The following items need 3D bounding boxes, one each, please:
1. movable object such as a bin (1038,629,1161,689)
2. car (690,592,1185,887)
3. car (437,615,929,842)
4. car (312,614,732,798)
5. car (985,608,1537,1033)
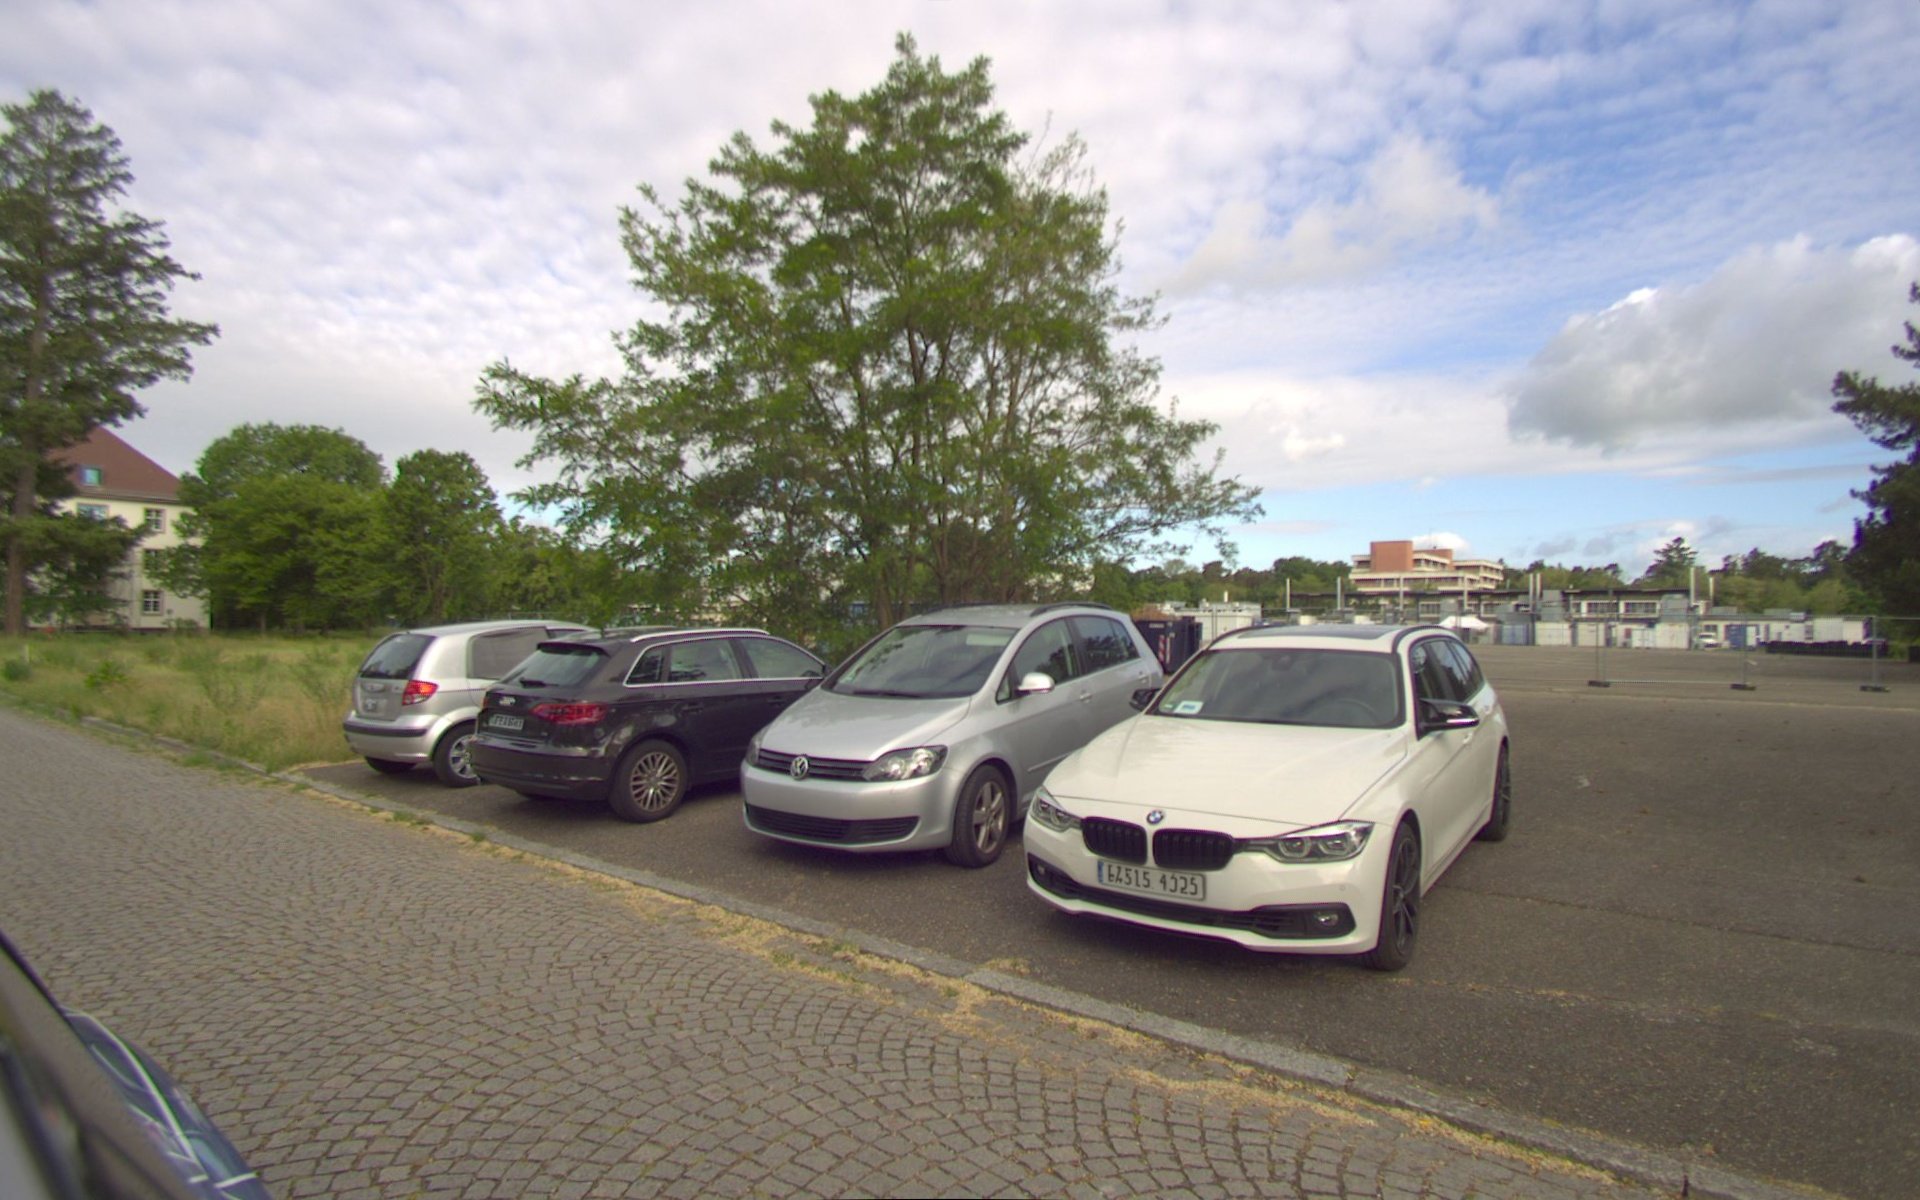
[{"bbox_3d":[2.993,1.222,21.560,1.501,1.170,2.364,-1,-2,44],"label":"movable object such as a bin"},{"bbox_3d":[0.109,0.749,7.583,1.720,1.559,3.953,-1,0,35],"label":"car"},{"bbox_3d":[-2.216,0.907,8.983,1.748,1.438,3.949,-1,0,38],"label":"car"},{"bbox_3d":[-4.404,0.935,10.645,1.804,1.463,3.647,-1,0,35],"label":"car"},{"bbox_3d":[2.184,0.831,6.099,1.798,1.454,4.607,-1,0,35],"label":"car"}]
